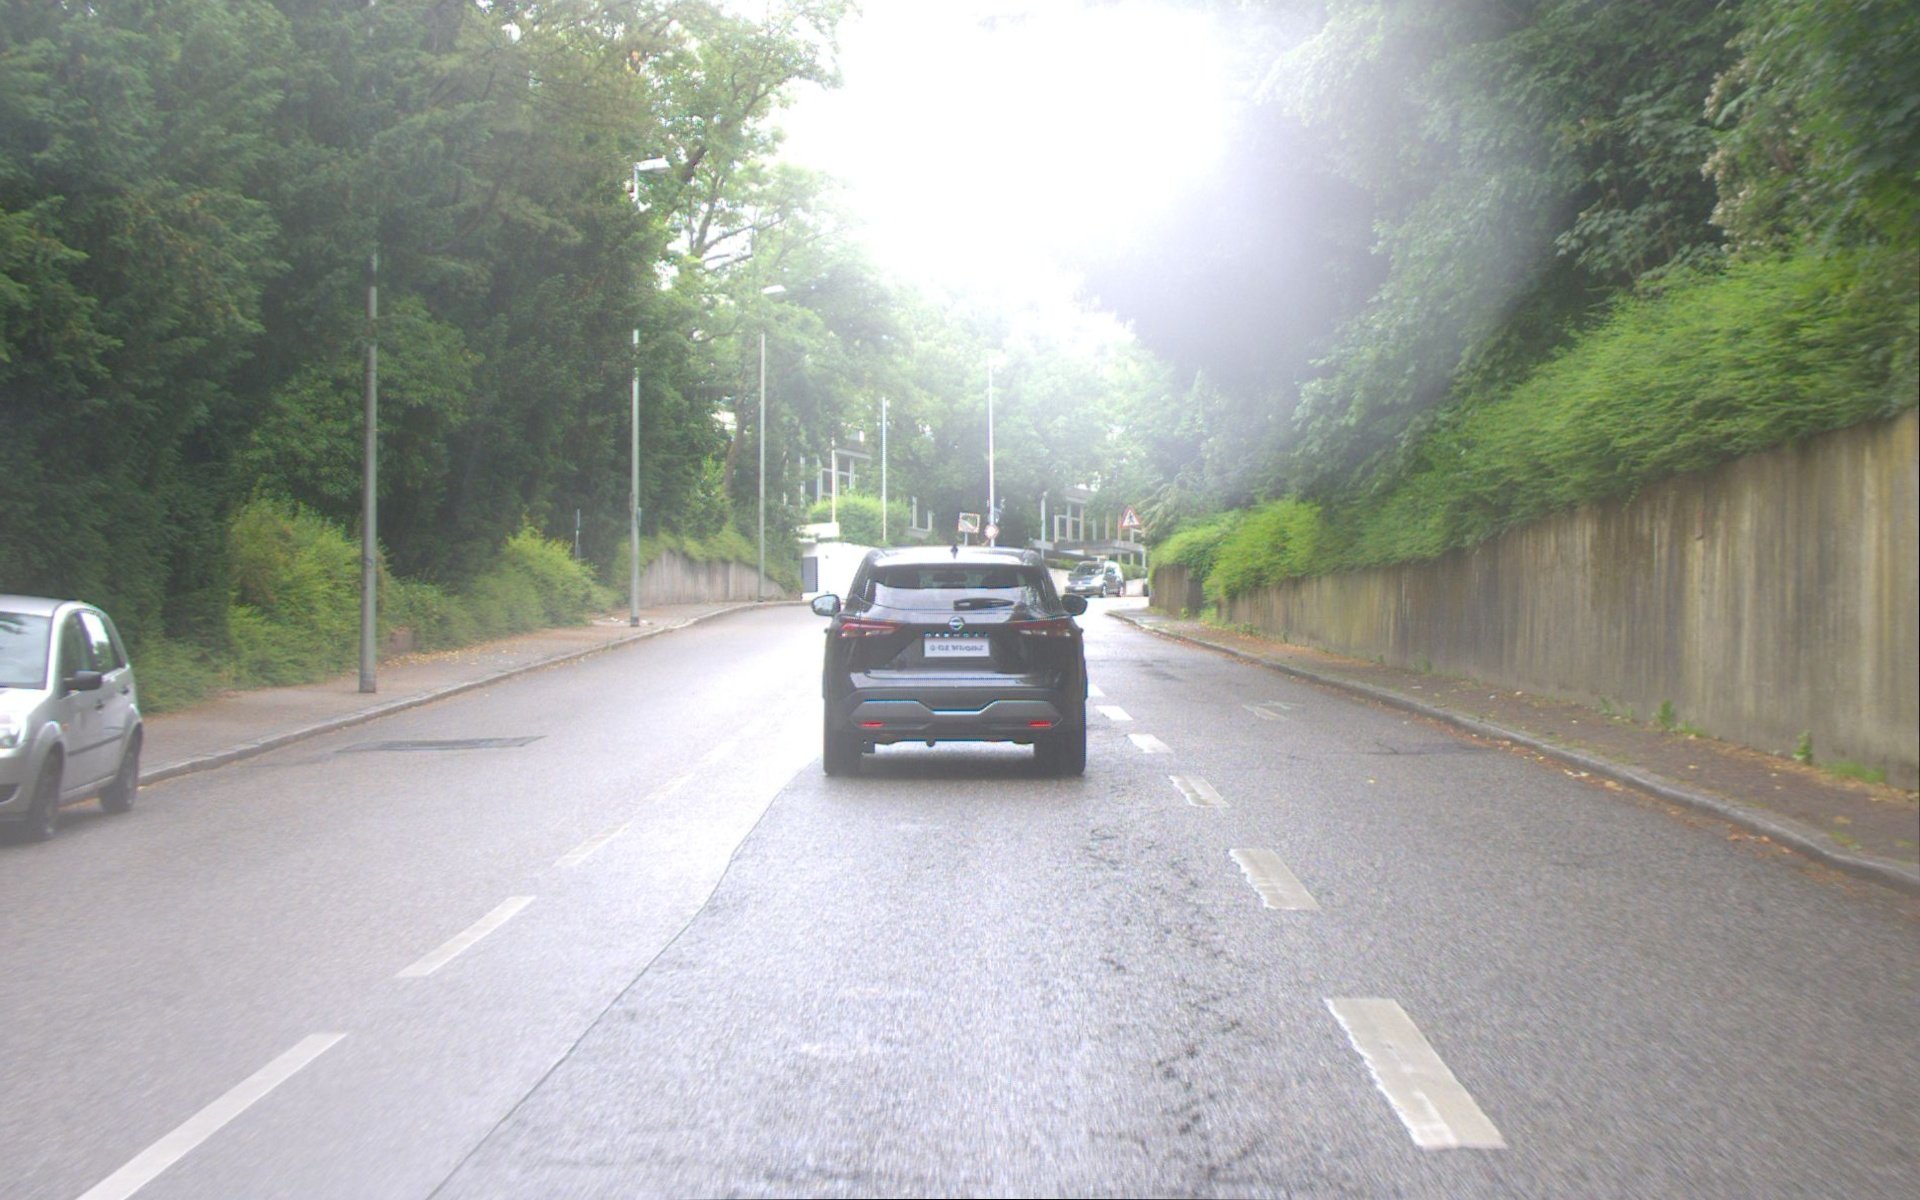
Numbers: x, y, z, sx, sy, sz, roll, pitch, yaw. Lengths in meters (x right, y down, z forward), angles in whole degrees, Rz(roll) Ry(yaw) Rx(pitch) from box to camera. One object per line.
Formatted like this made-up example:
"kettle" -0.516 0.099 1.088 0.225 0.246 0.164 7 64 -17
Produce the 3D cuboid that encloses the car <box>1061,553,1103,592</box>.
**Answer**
"car" 5.465 -1.228 154.222 1.830 1.705 4.000 0 1 1

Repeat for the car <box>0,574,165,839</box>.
"car" -6.290 0.604 22.008 1.626 1.494 3.929 1 1 -3

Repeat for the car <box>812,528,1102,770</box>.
"car" -0.027 0.300 24.949 1.928 1.607 4.000 0 1 0
